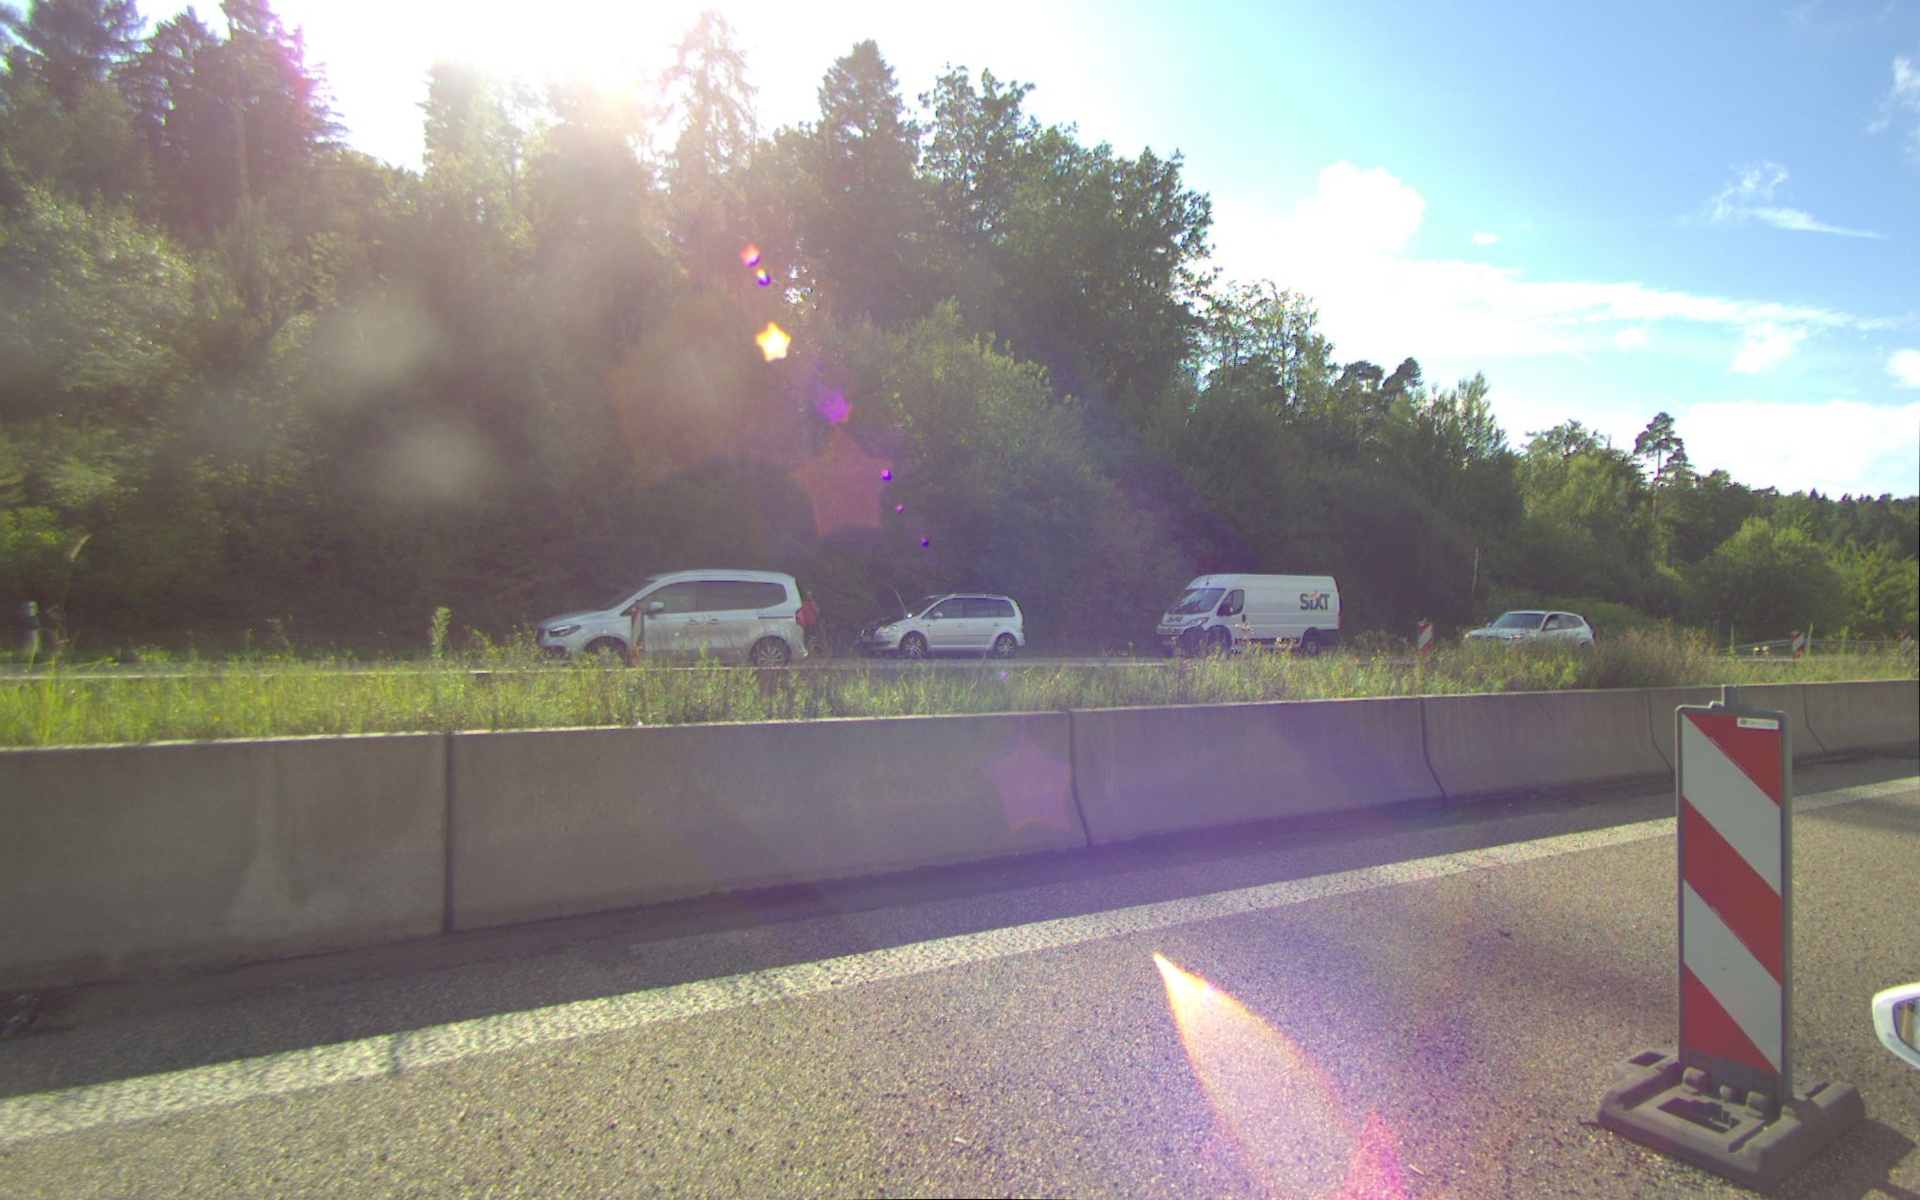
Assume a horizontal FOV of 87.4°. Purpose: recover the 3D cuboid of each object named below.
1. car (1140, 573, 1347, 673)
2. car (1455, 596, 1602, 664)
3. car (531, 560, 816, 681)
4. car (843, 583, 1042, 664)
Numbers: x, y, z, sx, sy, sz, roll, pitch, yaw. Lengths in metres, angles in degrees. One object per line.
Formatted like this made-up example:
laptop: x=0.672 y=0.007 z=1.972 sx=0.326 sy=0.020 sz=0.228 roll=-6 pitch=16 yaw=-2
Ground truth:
car: x=8.563 y=0.721 z=30.031 sx=6.447 sy=2.720 sz=2.018 roll=2 pitch=0 yaw=-31
car: x=16.461 y=0.871 z=29.052 sx=4.314 sy=1.809 sz=1.769 roll=2 pitch=0 yaw=-30
car: x=-4.790 y=0.365 z=16.960 sx=4.314 sy=1.809 sz=1.769 roll=2 pitch=0 yaw=-30
car: x=-0.402 y=0.605 z=25.384 sx=4.706 sy=1.878 sz=1.851 roll=2 pitch=0 yaw=-30
